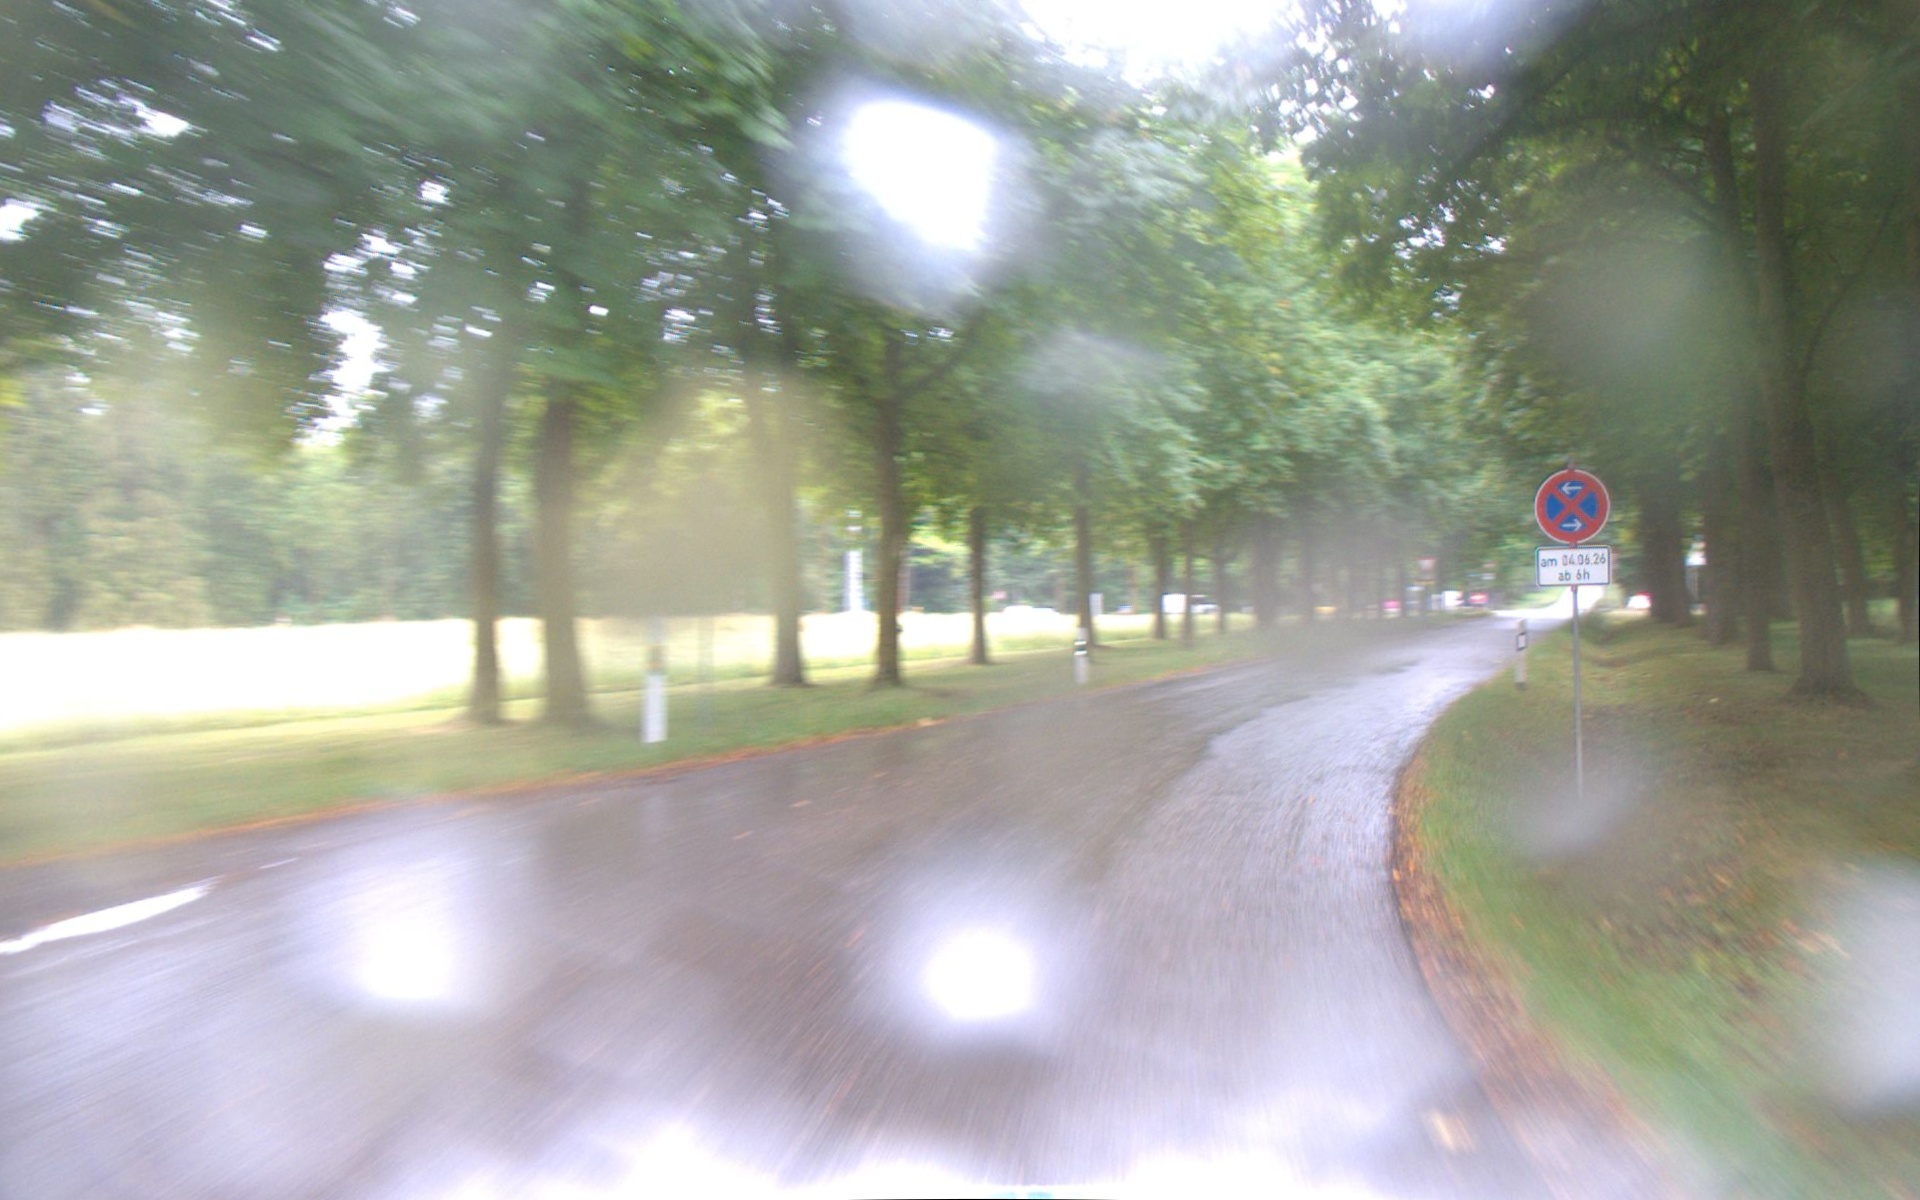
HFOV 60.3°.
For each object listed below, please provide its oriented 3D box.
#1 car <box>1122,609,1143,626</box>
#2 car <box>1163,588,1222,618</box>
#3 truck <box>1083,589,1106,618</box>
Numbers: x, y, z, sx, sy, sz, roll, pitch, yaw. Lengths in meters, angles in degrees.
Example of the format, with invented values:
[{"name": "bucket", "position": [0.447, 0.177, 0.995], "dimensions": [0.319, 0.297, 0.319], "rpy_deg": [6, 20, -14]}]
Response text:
[{"name": "car", "position": [15.210, 1.586, 145.759], "dimensions": [1.726, 1.454, 4.109], "rpy_deg": [-1, -1, 4]}, {"name": "car", "position": [20.745, 0.308, 147.741], "dimensions": [2.355, 2.450, 5.934], "rpy_deg": [1, -2, -26]}, {"name": "truck", "position": [11.821, 0.301, 145.399], "dimensions": [1.829, 2.485, 3.352], "rpy_deg": [-1, -1, 8]}]
